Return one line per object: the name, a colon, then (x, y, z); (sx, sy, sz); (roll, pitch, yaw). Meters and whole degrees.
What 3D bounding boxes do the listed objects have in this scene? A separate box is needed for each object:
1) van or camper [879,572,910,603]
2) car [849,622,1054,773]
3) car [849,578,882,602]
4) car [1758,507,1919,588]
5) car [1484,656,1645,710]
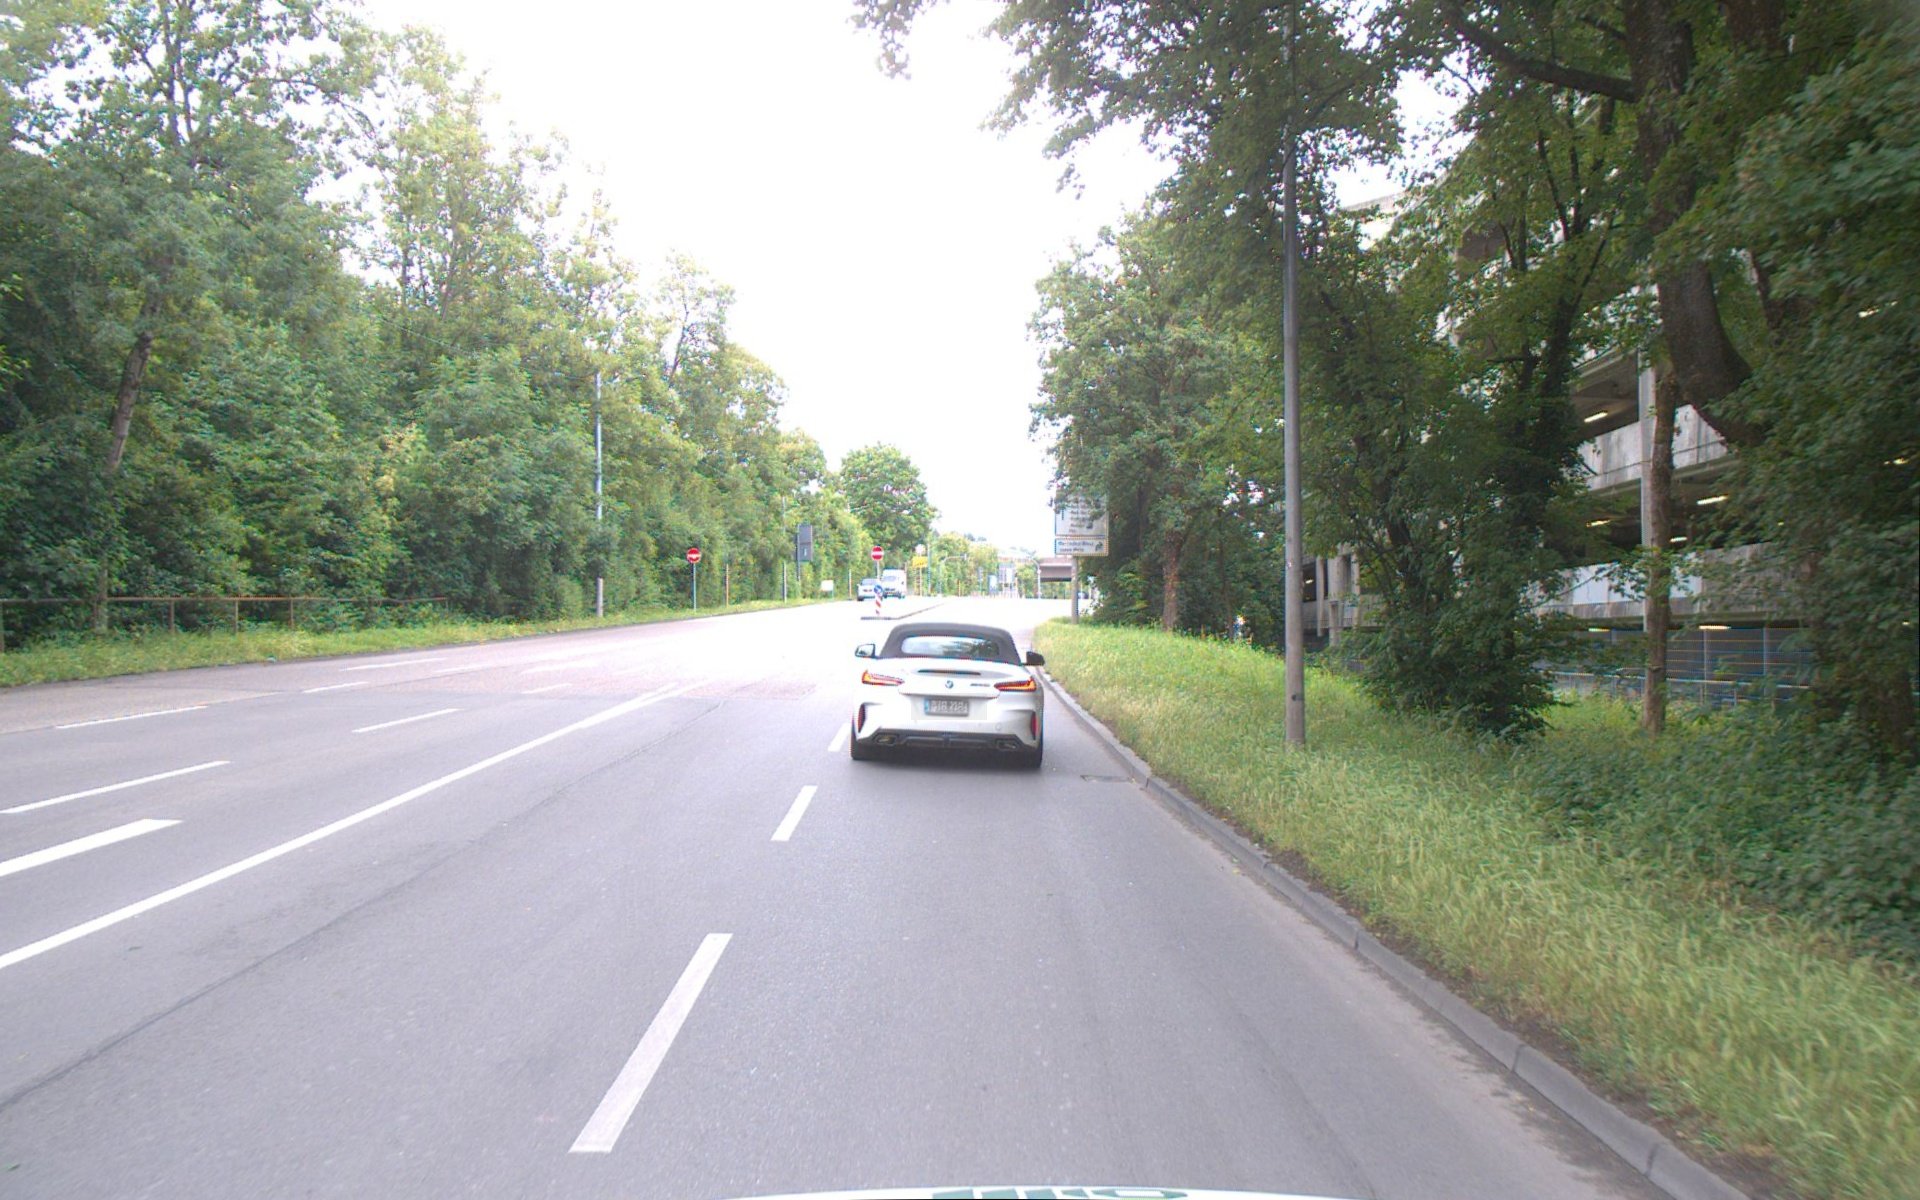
van or camper: (-5.990, -1.147, 152.180); (2.236, 2.599, 6.861); (4, 0, 2)
car: (-0.055, 0.905, 16.808); (1.836, 1.332, 3.873); (0, -1, 1)
car: (-7.514, -0.831, 131.574); (1.774, 1.862, 4.387); (0, 1, 8)
car: (17.027, -0.964, 30.499); (3.751, 1.367, 1.834); (-1, -1, 5)
car: (17.405, 2.374, 47.772); (3.923, 1.462, 1.949); (-1, -2, 0)
